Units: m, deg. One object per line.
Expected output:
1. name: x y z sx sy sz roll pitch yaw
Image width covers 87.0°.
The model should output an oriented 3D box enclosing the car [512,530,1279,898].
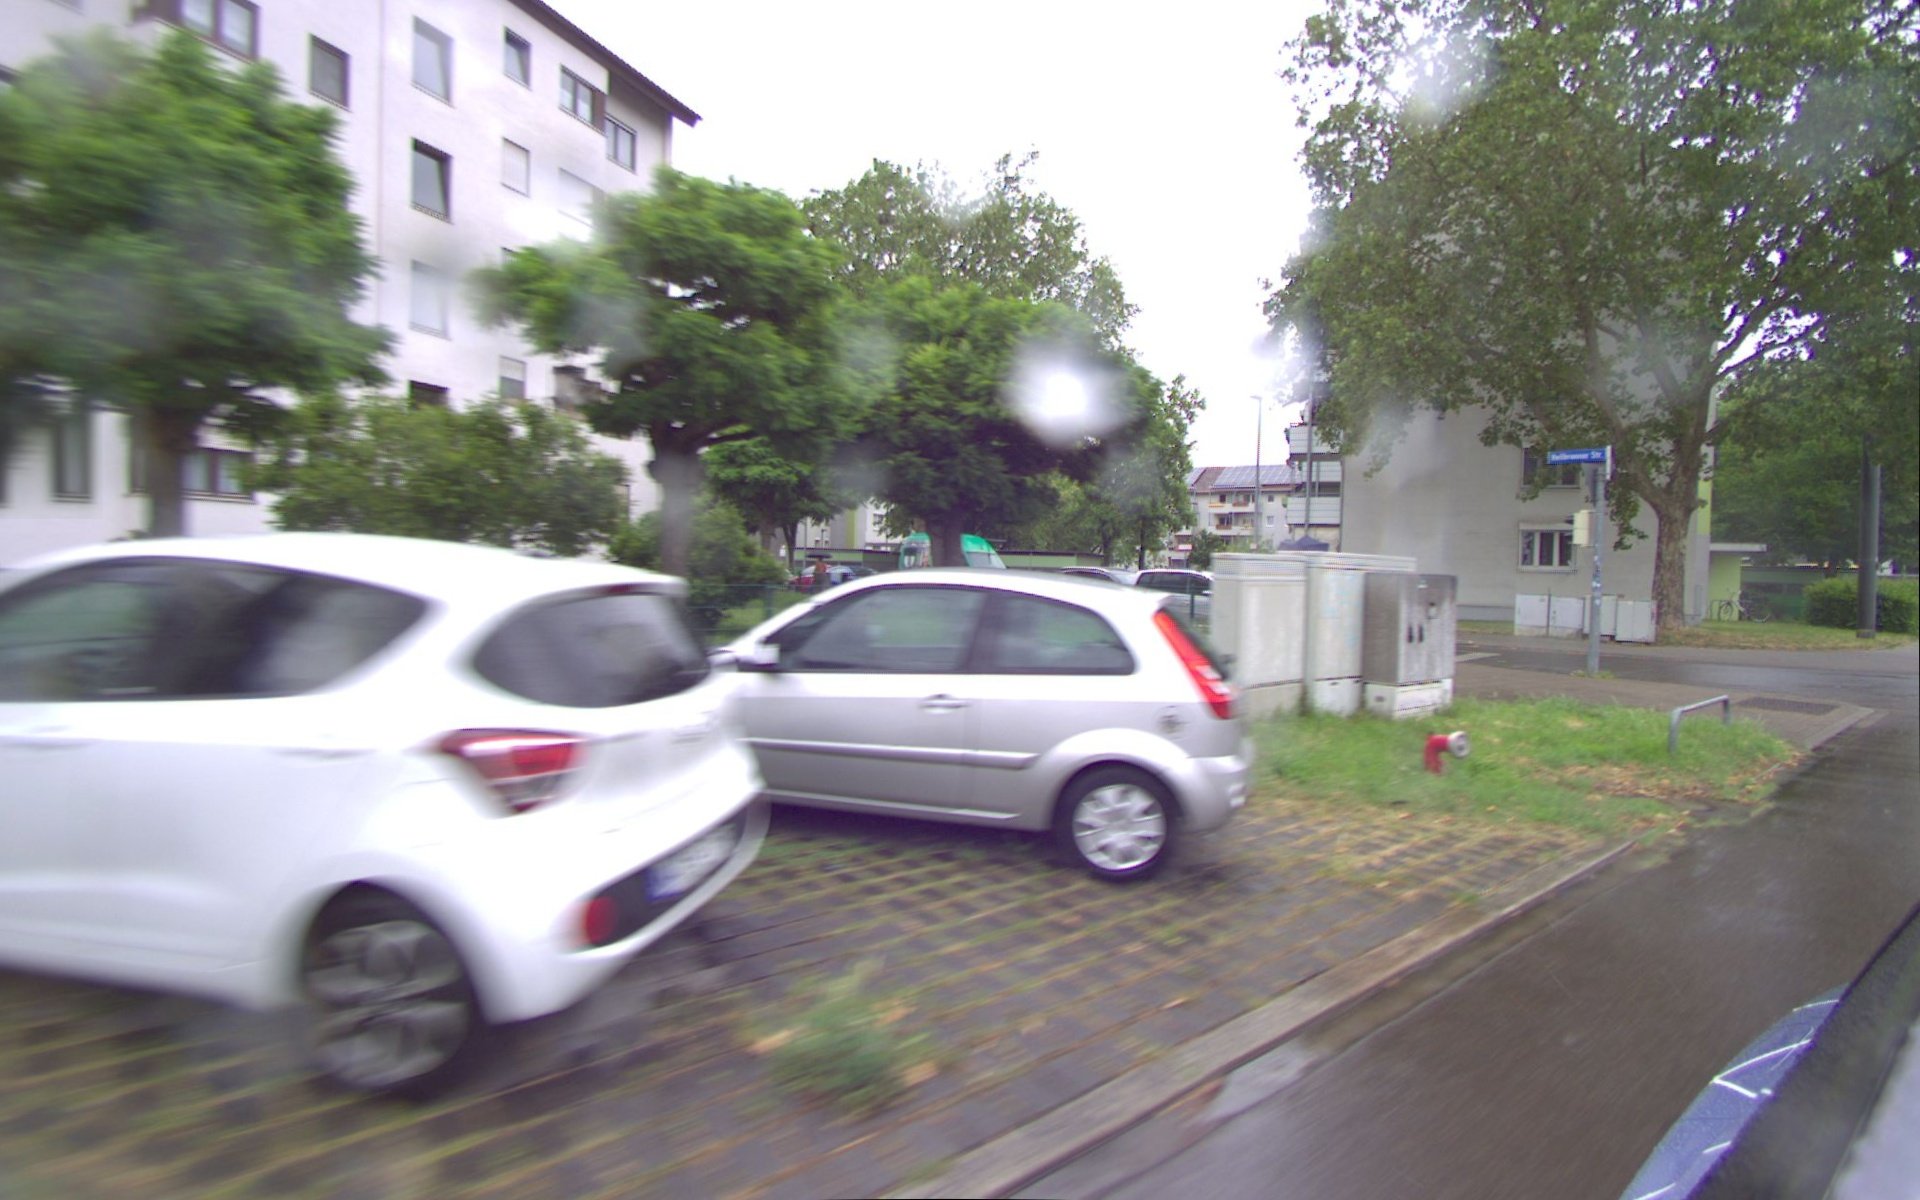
1. car: -0.317 0.418 5.848 3.942 1.526 1.778 3 4 15

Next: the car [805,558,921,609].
1. car: -3.382 -0.607 34.537 1.902 1.524 4.306 0 3 -38

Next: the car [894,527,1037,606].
1. car: 0.092 -1.330 39.120 2.147 2.813 6.137 1 2 -38

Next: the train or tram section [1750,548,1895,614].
1. train or tram section: 48.012 -1.151 56.607 2.708 3.380 6.396 2 2 4

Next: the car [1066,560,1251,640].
1. car: 4.809 -0.069 25.055 1.837 1.701 4.306 0 3 -38

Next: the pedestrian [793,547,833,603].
1. pedestrian: -4.819 -0.829 33.153 0.708 1.790 1.179 0 2 -43

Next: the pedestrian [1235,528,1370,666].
1. pedestrian: 4.830 -0.056 14.305 1.405 1.836 1.104 1 2 -30

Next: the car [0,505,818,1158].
1. car: -2.673 0.457 3.656 3.937 1.526 1.701 3 4 11

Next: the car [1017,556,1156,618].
1. car: 3.741 -0.416 30.447 1.745 1.670 3.995 0 3 -41

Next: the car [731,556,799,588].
1. car: -9.883 -1.430 51.014 1.708 1.524 4.004 0 2 -38

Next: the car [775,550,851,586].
1. car: -6.845 -1.494 46.792 1.708 1.524 4.004 0 2 -38

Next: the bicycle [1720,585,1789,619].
1. bicycle: 28.892 0.052 36.820 1.842 1.156 0.529 2 1 25
